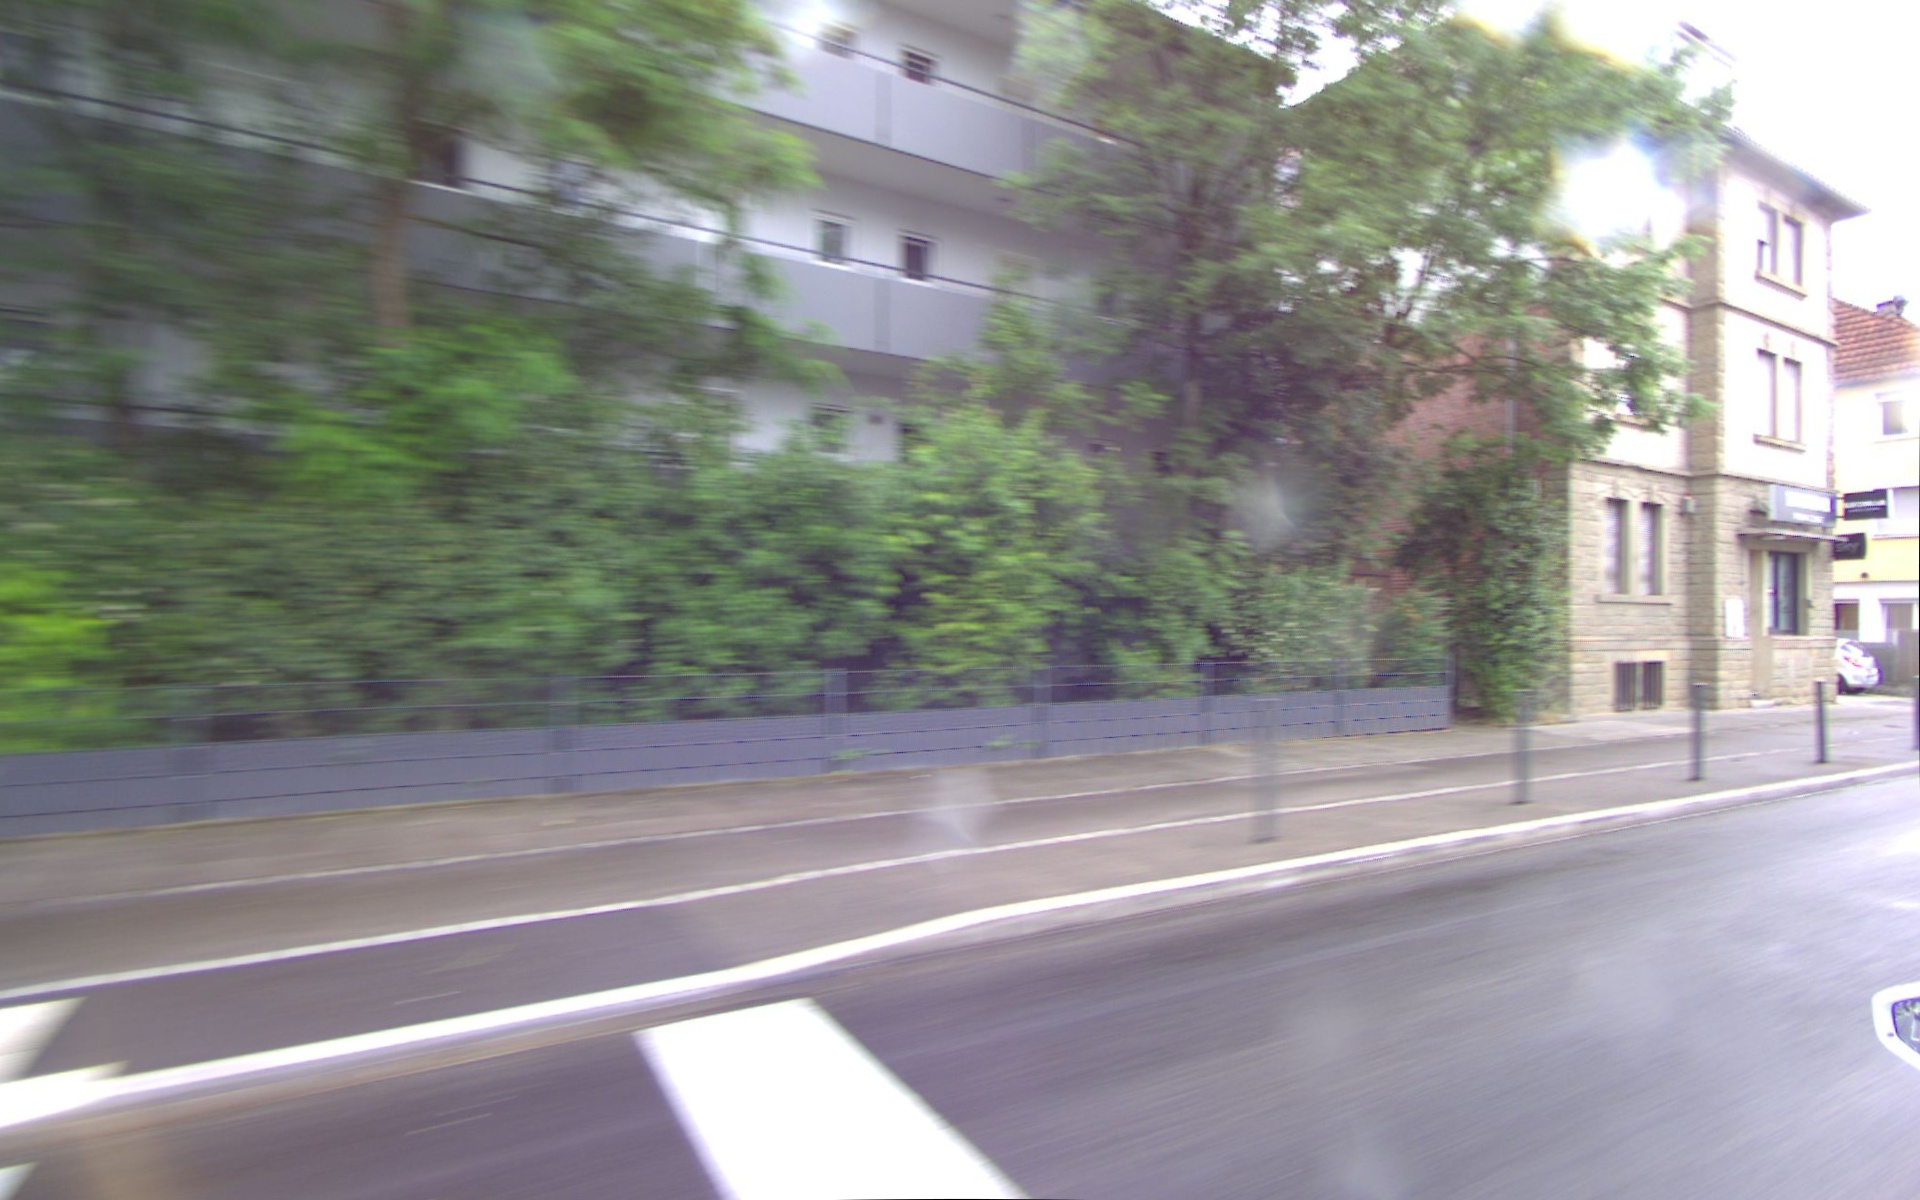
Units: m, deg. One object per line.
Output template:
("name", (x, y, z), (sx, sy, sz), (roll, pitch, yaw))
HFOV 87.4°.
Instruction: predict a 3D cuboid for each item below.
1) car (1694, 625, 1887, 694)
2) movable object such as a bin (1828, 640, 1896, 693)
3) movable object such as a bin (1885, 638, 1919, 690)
("car", (22.256, 1.554, 27.028), (1.925, 1.506, 3.546), (2, 1, -31))
("movable object such as a bin", (26.441, 1.928, 29.454), (0.972, 1.459, 1.240), (2, 0, -31))
("movable object such as a bin", (27.115, 1.801, 28.324), (0.972, 1.421, 1.295), (2, 0, -30))
